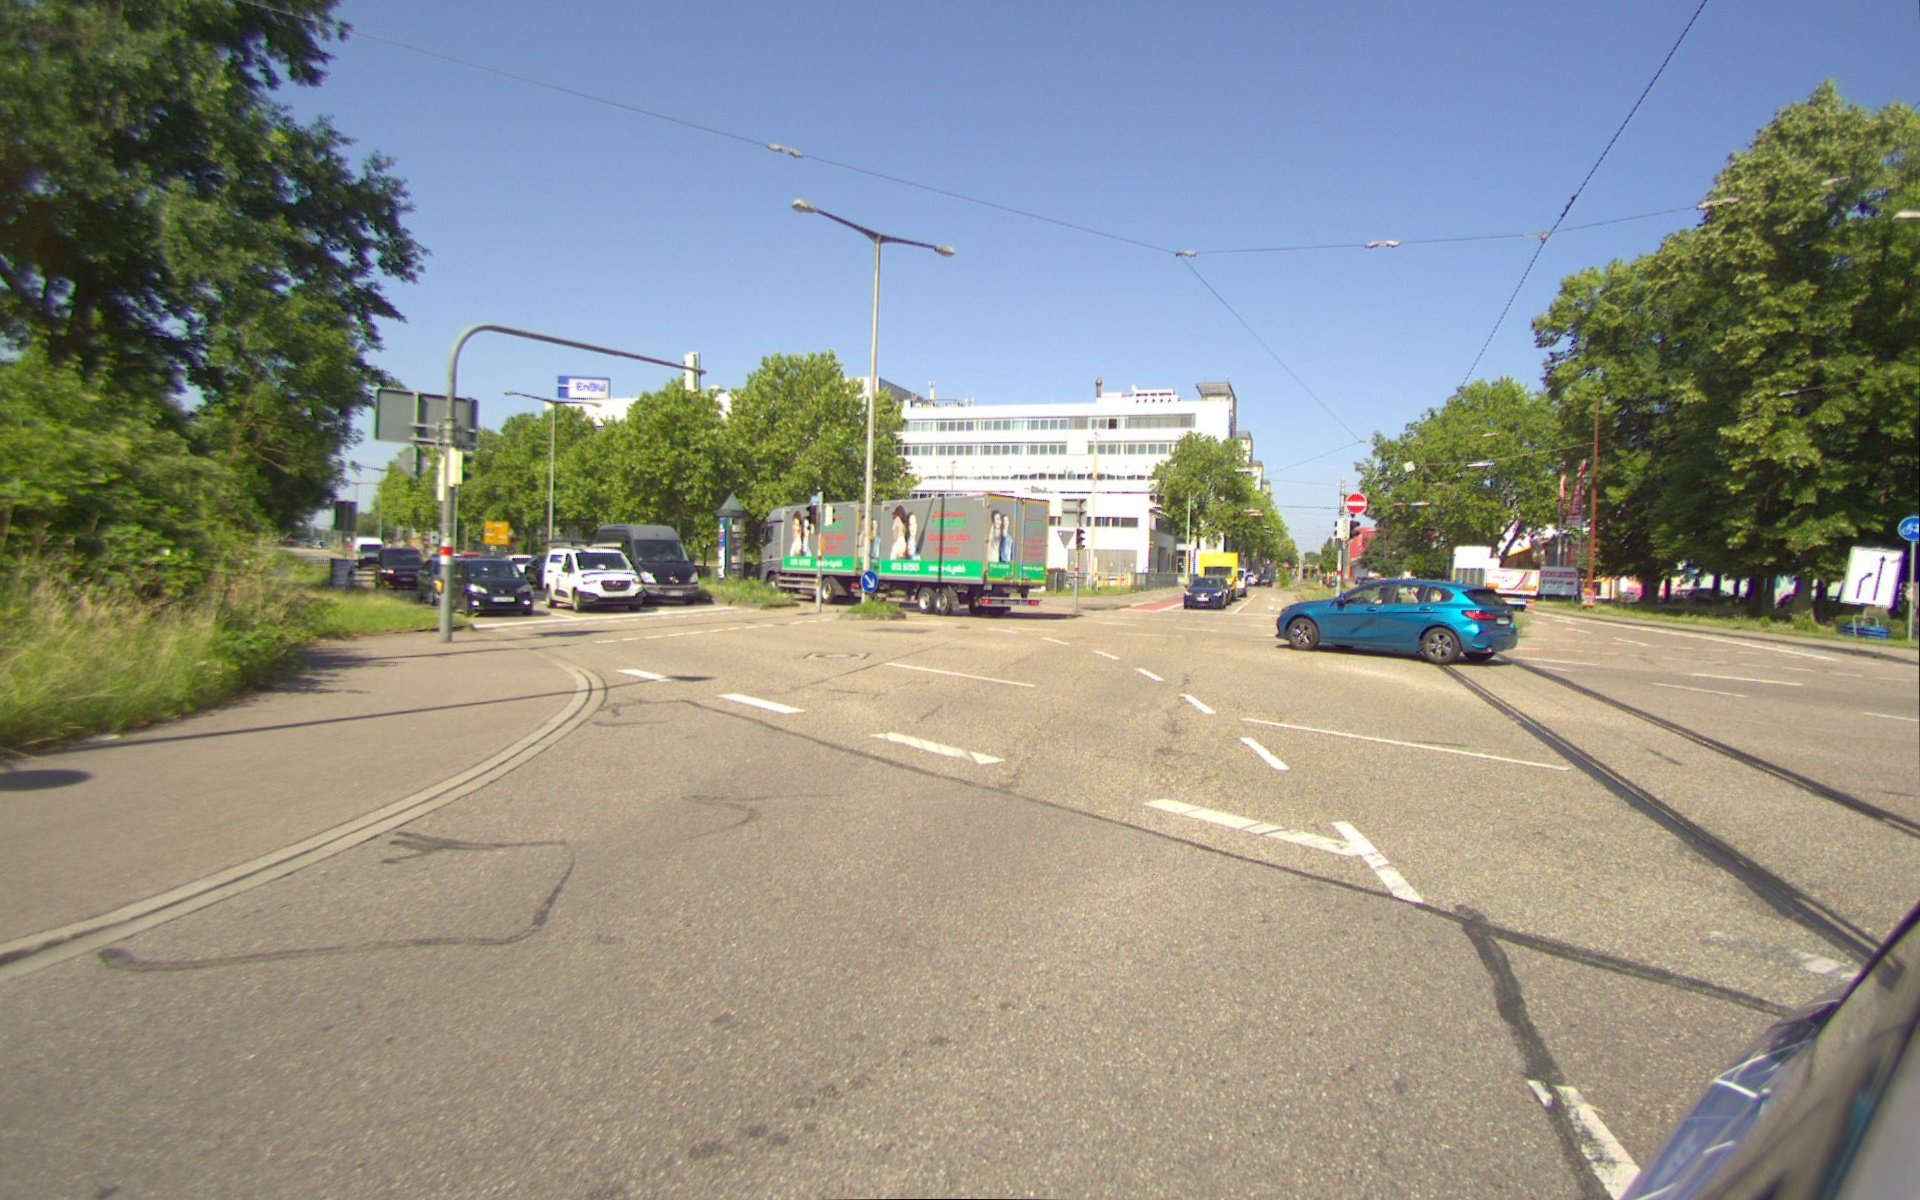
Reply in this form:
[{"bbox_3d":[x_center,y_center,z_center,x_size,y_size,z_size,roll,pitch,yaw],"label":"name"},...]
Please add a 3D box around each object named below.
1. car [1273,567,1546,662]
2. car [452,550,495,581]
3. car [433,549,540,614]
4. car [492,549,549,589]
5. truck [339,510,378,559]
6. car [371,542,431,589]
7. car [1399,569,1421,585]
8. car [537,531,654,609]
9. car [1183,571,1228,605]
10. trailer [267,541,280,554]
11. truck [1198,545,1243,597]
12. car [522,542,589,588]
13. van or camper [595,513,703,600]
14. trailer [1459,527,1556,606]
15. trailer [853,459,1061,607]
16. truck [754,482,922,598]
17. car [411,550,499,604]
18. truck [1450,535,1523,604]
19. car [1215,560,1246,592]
[{"bbox_3d":[8.212,0.177,18.809,1.964,1.450,4.192,0,3,-39],"label":"car"},{"bbox_3d":[-31.348,-2.209,65.150,1.962,1.883,4.001,0,0,-34],"label":"car"},{"bbox_3d":[-12.513,-0.473,26.628,1.962,1.571,4.001,0,0,-34],"label":"car"},{"bbox_3d":[-22.163,-1.527,50.950,1.962,1.883,4.001,0,0,-34],"label":"car"},{"bbox_3d":[-50.881,-5.472,85.541,2.450,3.753,6.612,0,0,-34],"label":"truck"},{"bbox_3d":[-24.264,-1.448,43.870,1.962,1.883,4.001,0,0,-34],"label":"car"},{"bbox_3d":[52.992,-2.704,119.236,1.975,1.772,3.975,0,0,19],"label":"car"},{"bbox_3d":[-10.648,-0.814,29.321,1.962,2.039,4.884,0,0,-35],"label":"car"},{"bbox_3d":[11.021,-0.568,45.323,1.798,1.370,3.981,2,2,16],"label":"car"},{"bbox_3d":[-122.480,-9.321,180.555,1.797,2.039,4.111,0,0,-35],"label":"trailer"},{"bbox_3d":[15.172,-1.631,59.121,2.376,2.899,5.780,0,0,14],"label":"truck"},{"bbox_3d":[-17.780,-1.488,44.392,1.962,1.883,4.001,0,0,-34],"label":"car"},{"bbox_3d":[-10.339,-1.344,33.347,1.962,2.618,5.147,0,0,-34],"label":"van or camper"},{"bbox_3d":[30.913,-1.770,57.659,2.904,4.012,12.063,0,0,19],"label":"trailer"},{"bbox_3d":[-0.341,-1.968,33.204,2.885,4.279,7.801,0,0,-35],"label":"trailer"},{"bbox_3d":[-5.040,-2.136,39.967,2.885,4.095,8.653,0,0,-35],"label":"truck"},{"bbox_3d":[-15.828,-0.686,31.641,1.962,1.571,4.001,0,0,-34],"label":"car"},{"bbox_3d":[33.106,-1.845,63.976,2.904,4.040,8.102,0,0,19],"label":"truck"},{"bbox_3d":[18.418,-1.632,68.859,1.972,2.038,3.981,2,2,16],"label":"car"}]
